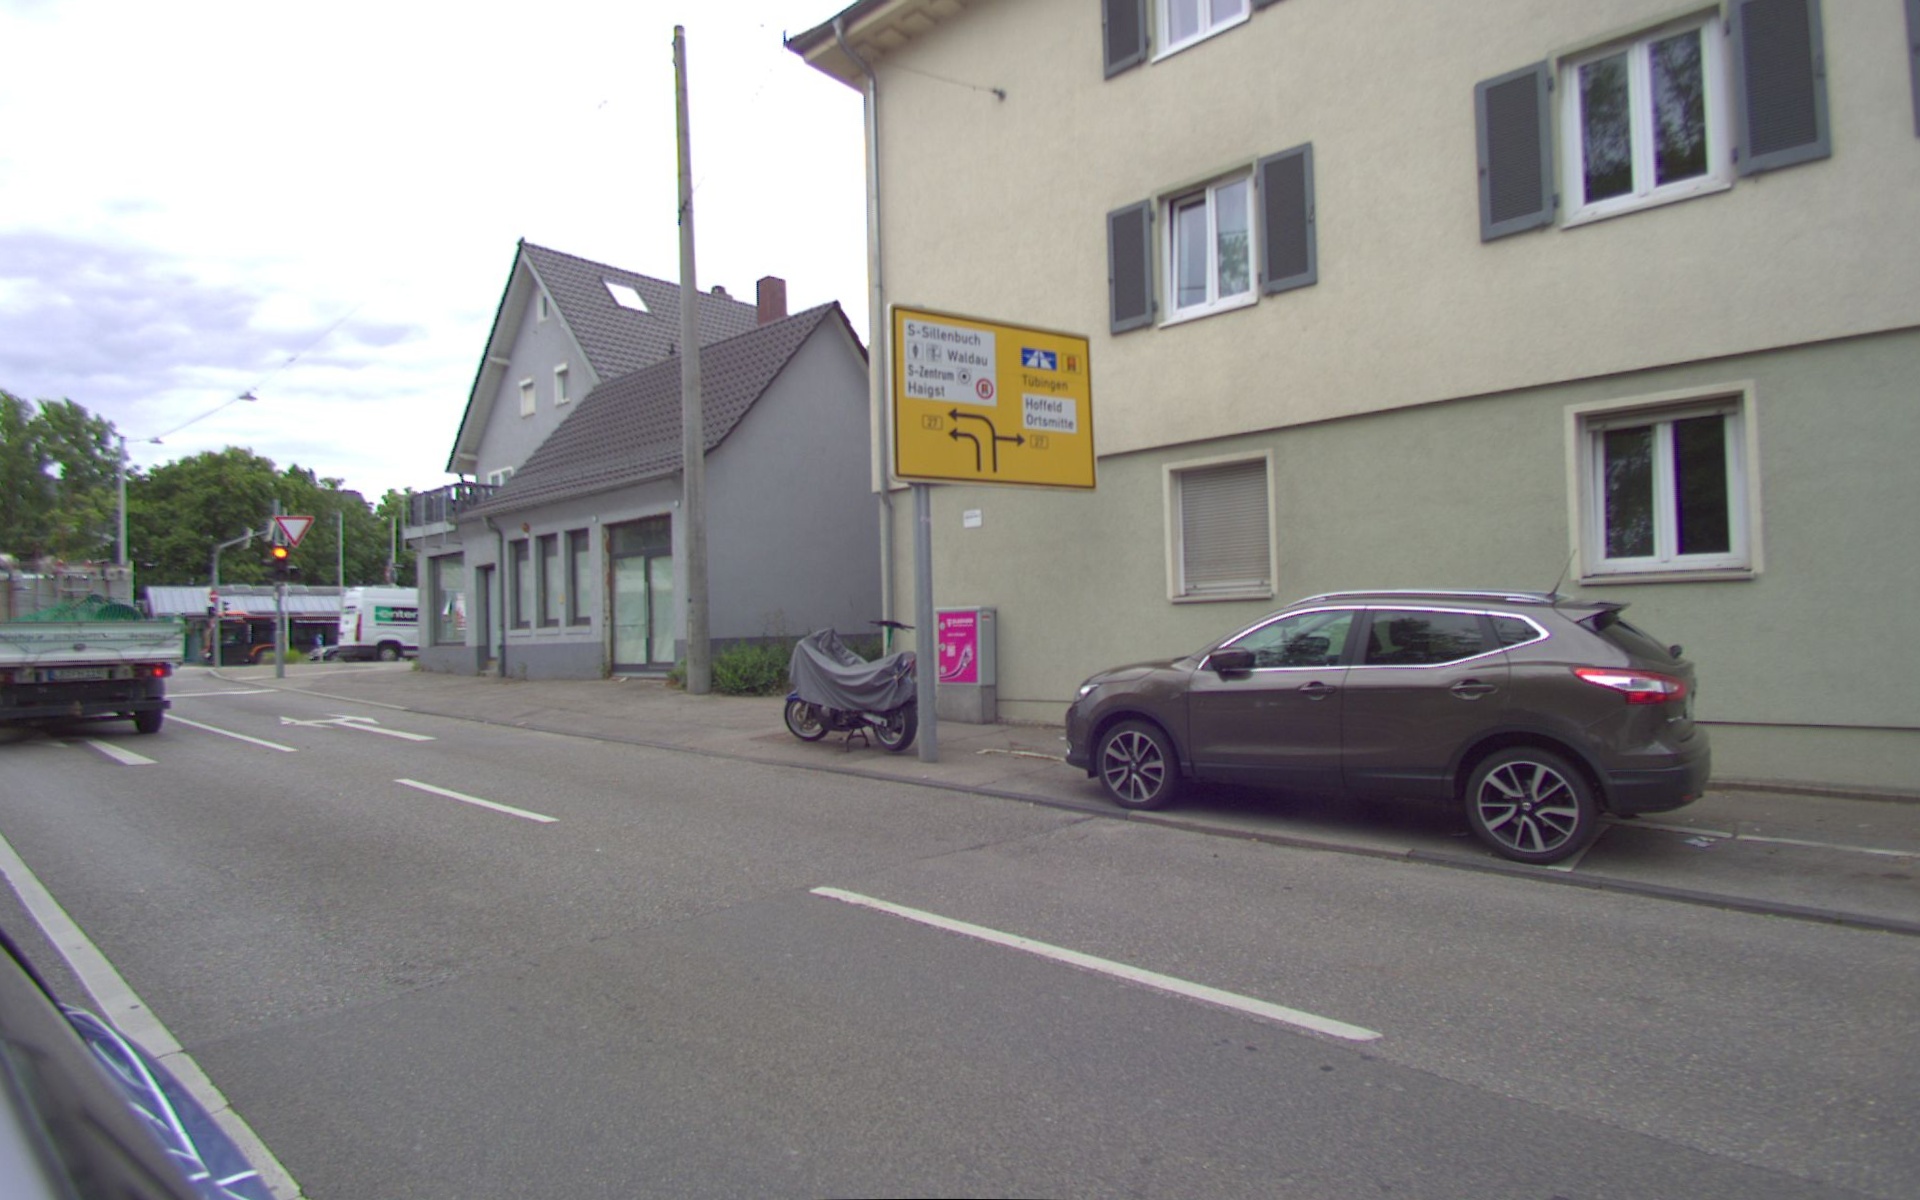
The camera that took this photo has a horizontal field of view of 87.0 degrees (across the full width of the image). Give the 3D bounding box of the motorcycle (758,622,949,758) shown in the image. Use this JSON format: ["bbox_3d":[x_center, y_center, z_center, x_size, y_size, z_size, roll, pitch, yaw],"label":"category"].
[{"bbox_3d":[-1.174,0.898,10.767,2.228,1.300,0.619,-2,0,40],"label":"motorcycle"}]

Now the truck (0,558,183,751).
[{"bbox_3d":[-13.044,0.708,14.295,6.587,2.218,2.098,-2,-2,42],"label":"truck"}]

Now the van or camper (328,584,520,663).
[{"bbox_3d":[-19.693,0.852,37.409,2.258,2.693,5.853,-2,-2,43],"label":"van or camper"}]

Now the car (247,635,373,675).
[{"bbox_3d":[-28.493,2.364,44.469,1.998,1.652,4.229,-1,-2,38],"label":"car"}]

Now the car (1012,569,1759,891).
[{"bbox_3d":[2.804,0.710,7.384,4.692,1.645,1.803,-2,-1,40],"label":"car"}]

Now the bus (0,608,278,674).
[{"bbox_3d":[-42.214,2.059,52.082,2.001,3.086,11.685,-5,-4,44],"label":"bus"}]

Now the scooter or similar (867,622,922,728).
[{"bbox_3d":[-0.845,0.934,12.962,0.351,1.274,0.989,-1,0,-25],"label":"scooter or similar"}]
